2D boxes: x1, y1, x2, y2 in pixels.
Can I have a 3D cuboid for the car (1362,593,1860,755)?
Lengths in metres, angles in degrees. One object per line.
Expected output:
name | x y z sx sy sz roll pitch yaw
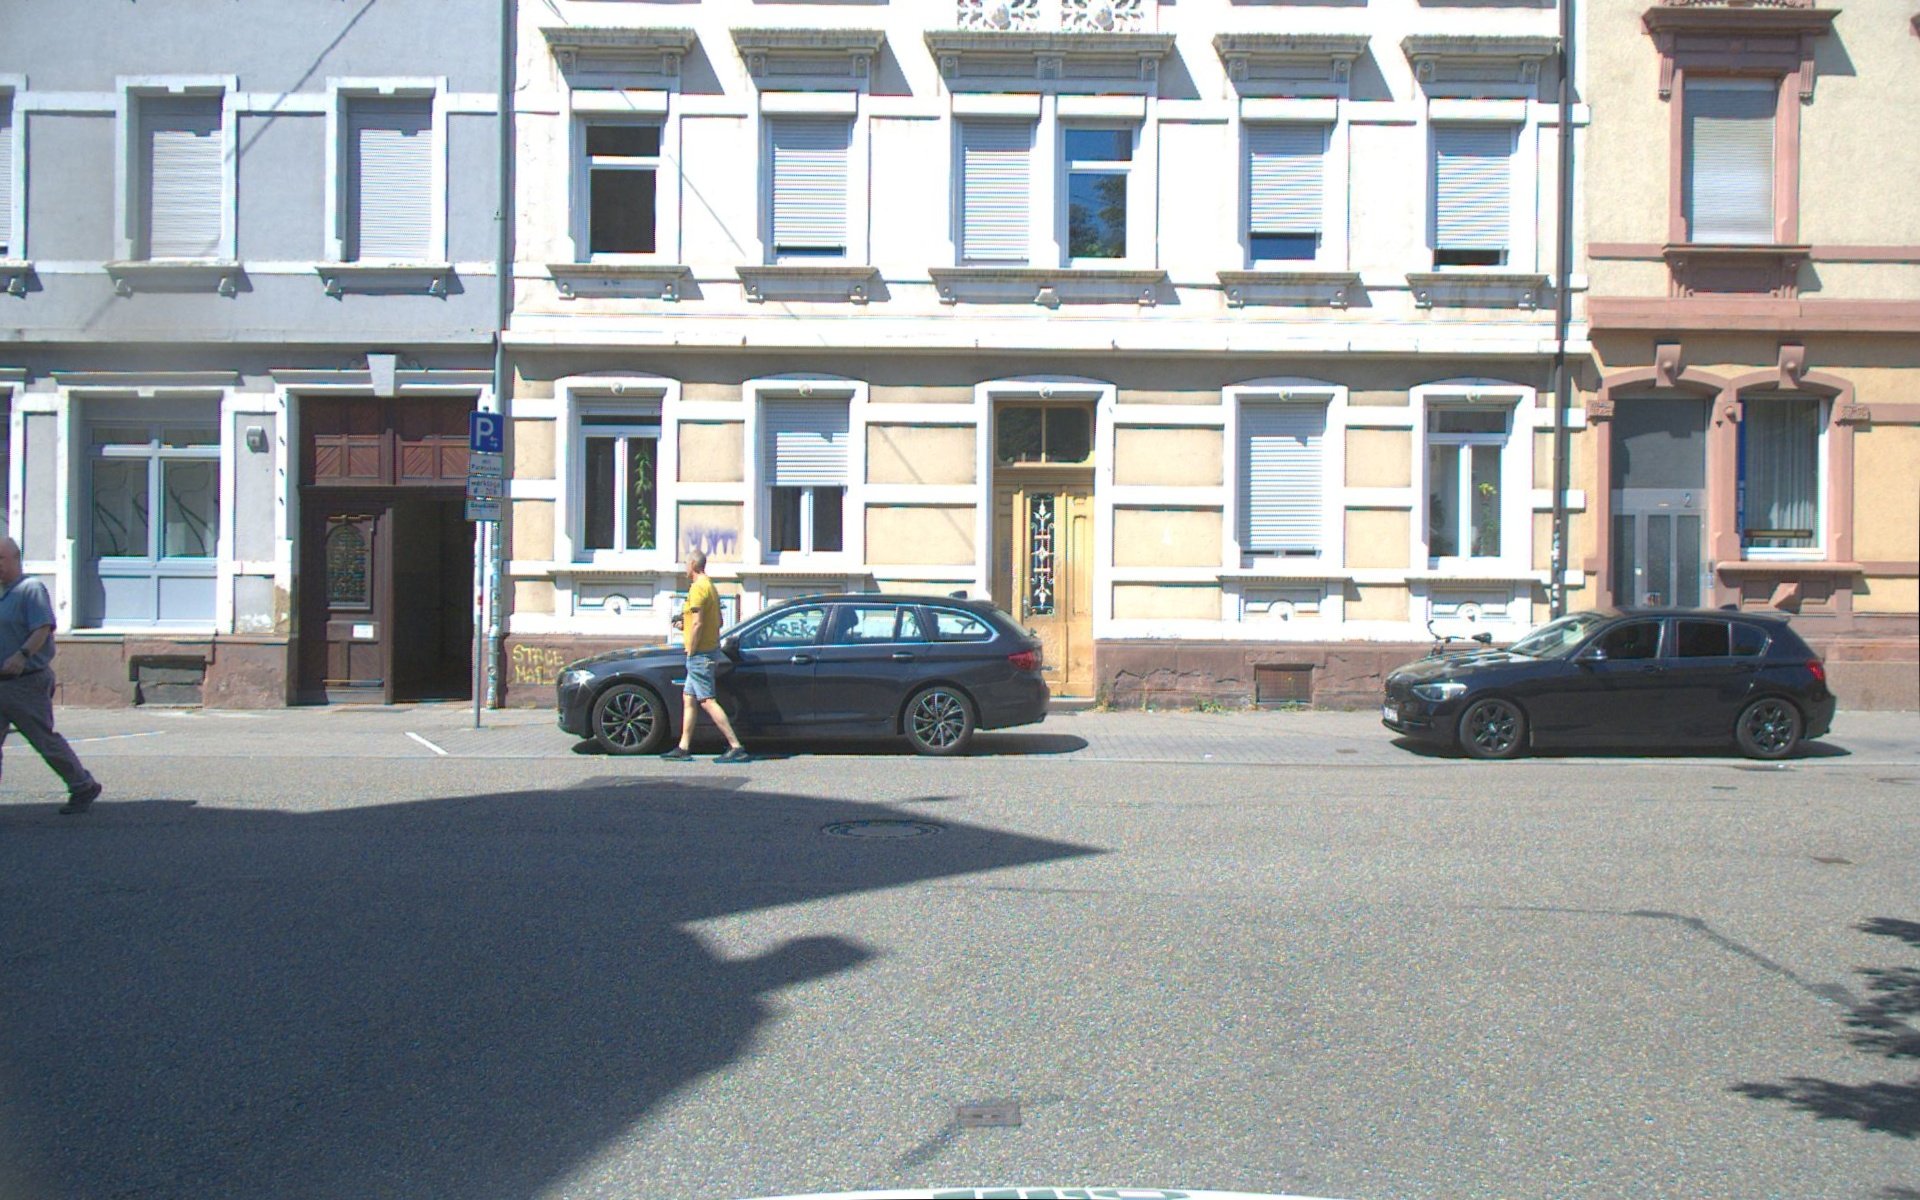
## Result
car | 6.280 0.683 16.304 4.206 1.394 1.807 -1 2 0

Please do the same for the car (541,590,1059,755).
car | -1.461 0.668 16.212 4.759 1.462 2.000 -1 0 0

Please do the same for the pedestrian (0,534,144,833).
pedestrian | -6.049 0.517 10.786 0.882 1.846 0.961 -1 0 19

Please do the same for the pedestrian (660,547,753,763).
pedestrian | -2.264 0.479 14.848 0.709 1.886 0.685 -1 0 0

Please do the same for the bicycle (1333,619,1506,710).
bicycle | 5.501 0.767 19.848 1.964 1.039 0.424 -1 3 -2
